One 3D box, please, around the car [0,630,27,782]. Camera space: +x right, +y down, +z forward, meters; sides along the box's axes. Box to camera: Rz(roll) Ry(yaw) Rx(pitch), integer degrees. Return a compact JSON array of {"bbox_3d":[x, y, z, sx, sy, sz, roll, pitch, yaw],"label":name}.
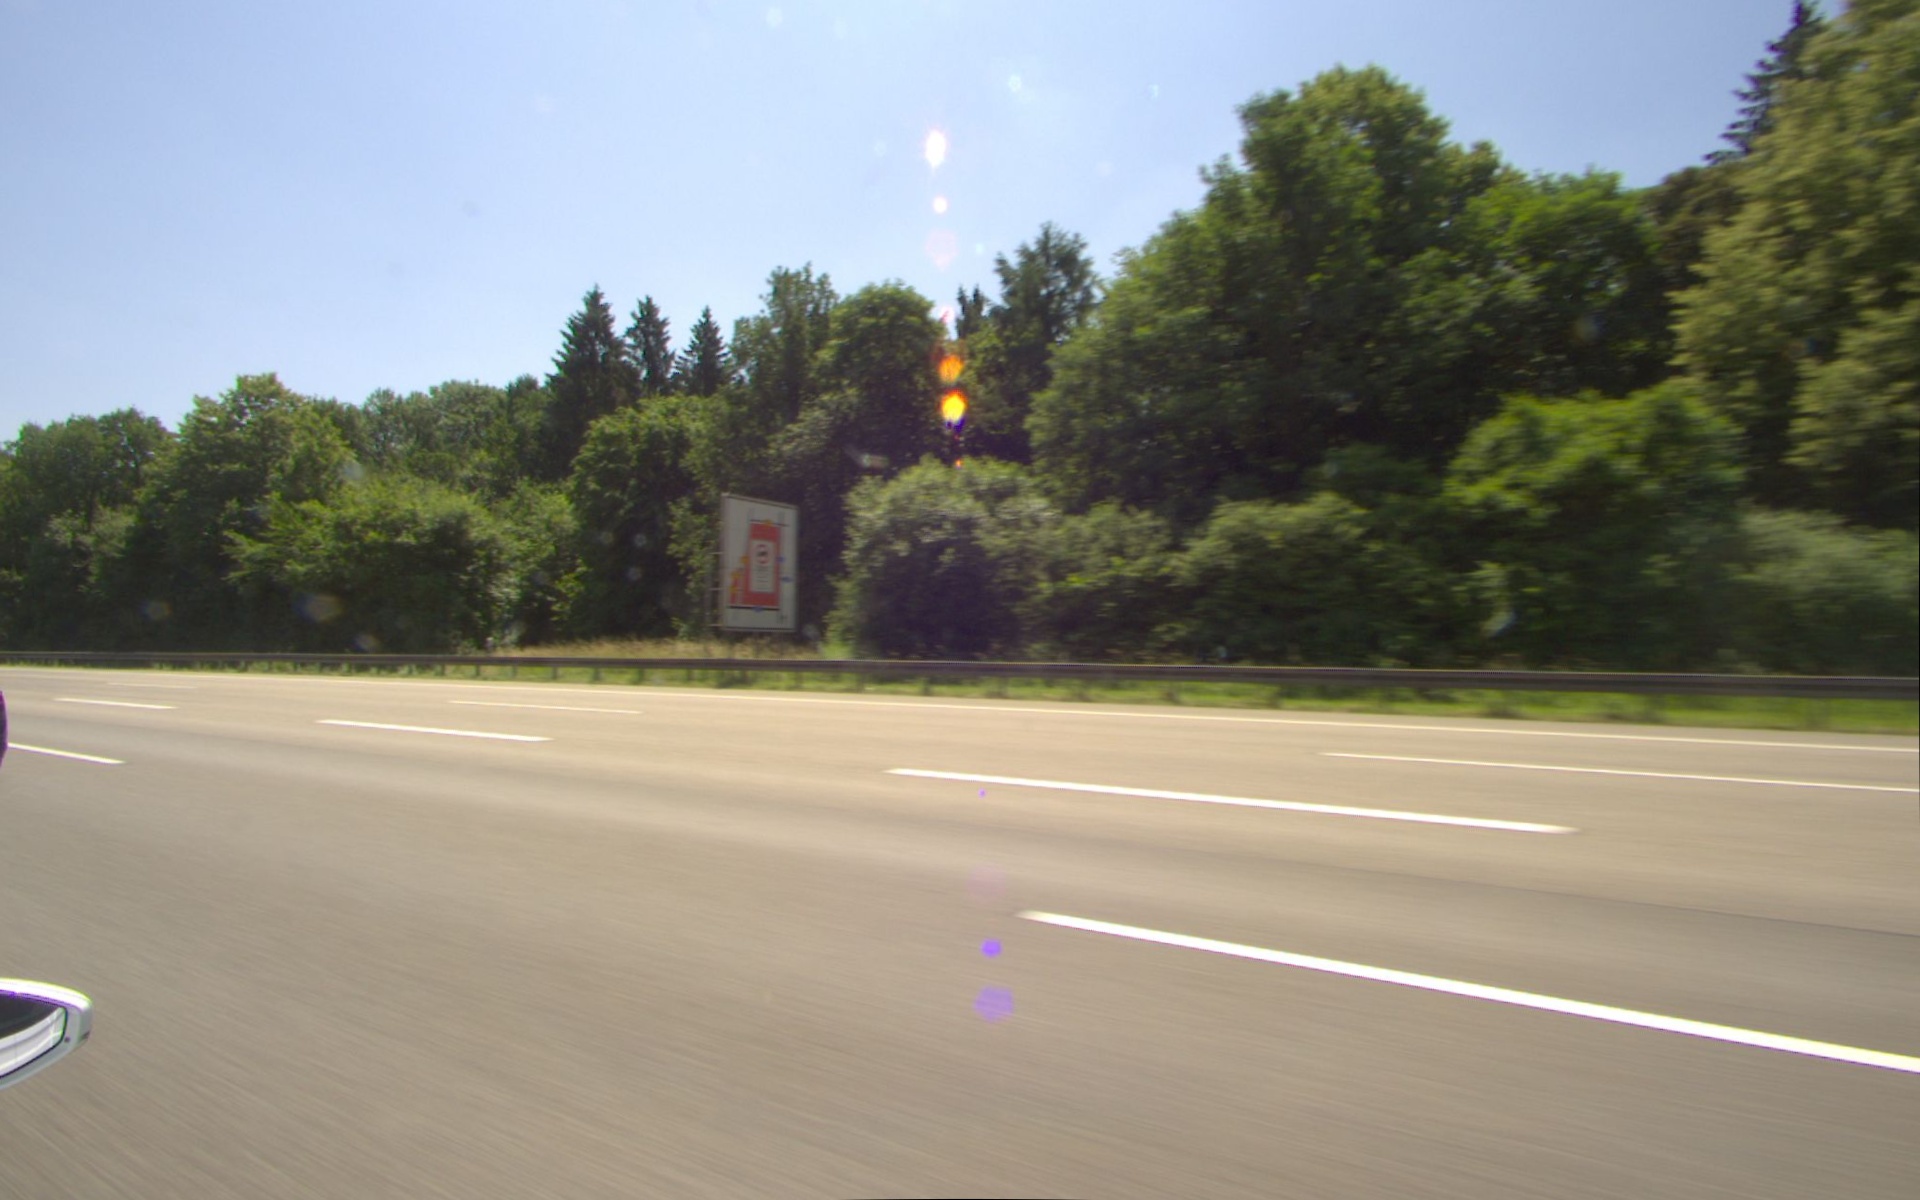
[{"bbox_3d":[-11.718,1.047,10.425,4.890,1.466,1.727,-1,-2,32],"label":"car"}]
